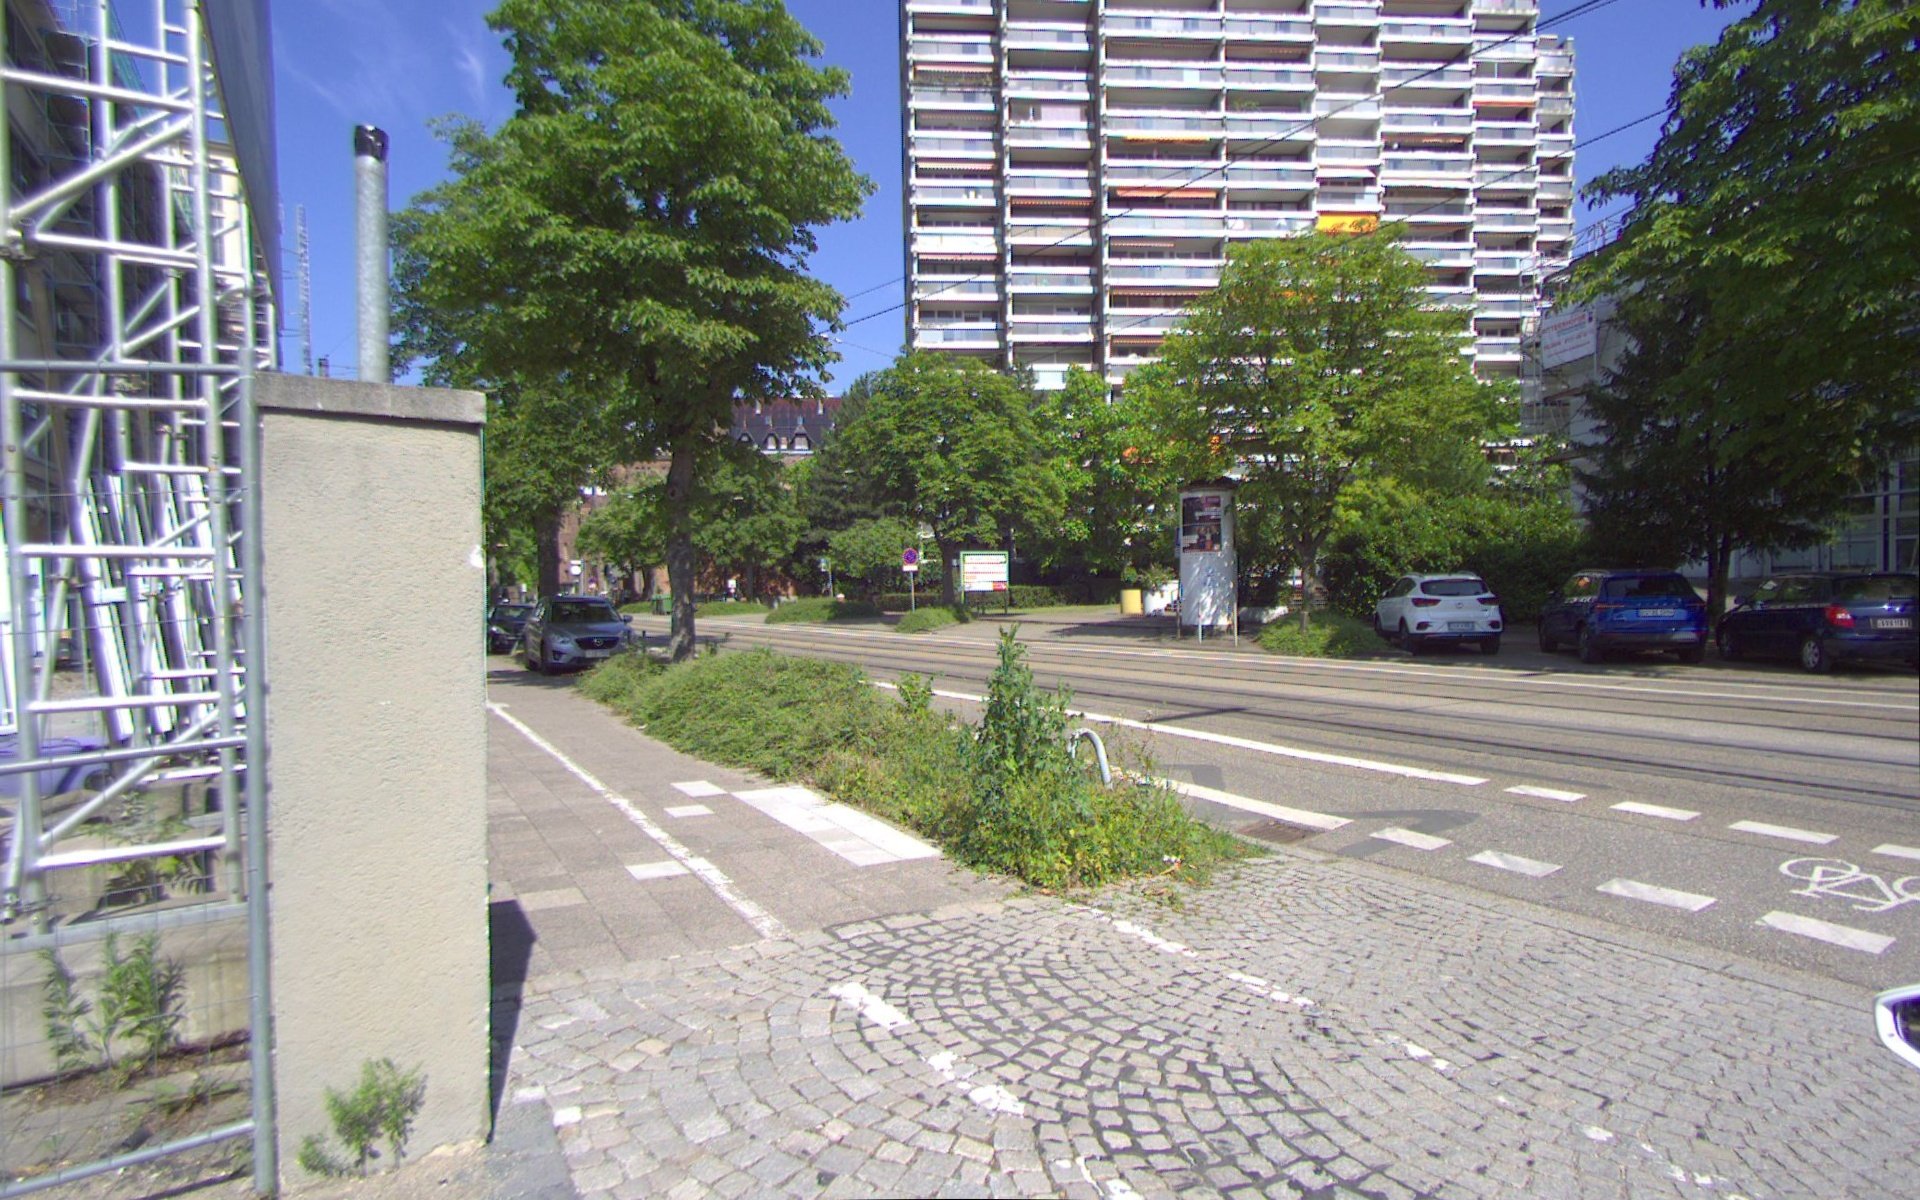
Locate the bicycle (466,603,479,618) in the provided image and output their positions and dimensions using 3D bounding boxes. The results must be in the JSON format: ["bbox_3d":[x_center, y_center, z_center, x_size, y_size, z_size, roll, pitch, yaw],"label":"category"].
[{"bbox_3d":[-32.793,0.708,67.608,0.591,1.020,1.473,-2,1,-33],"label":"bicycle"}]

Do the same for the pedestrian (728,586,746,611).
[{"bbox_3d":[-16.405,-0.134,73.840,1.046,1.822,1.256,0,0,-27],"label":"pedestrian"}]

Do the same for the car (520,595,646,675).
[{"bbox_3d":[-8.218,0.689,21.673,1.800,1.514,4.073,-1,1,-31],"label":"car"}]

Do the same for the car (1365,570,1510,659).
[{"bbox_3d":[9.981,0.256,21.300,1.783,1.628,3.947,-3,0,11],"label":"car"}]

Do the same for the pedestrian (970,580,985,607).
[{"bbox_3d":[0.791,-0.275,44.602,0.525,1.170,0.700,-1,1,-10],"label":"pedestrian"}]

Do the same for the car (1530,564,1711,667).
[{"bbox_3d":[11.969,0.200,18.489,1.745,1.644,3.945,-2,2,17],"label":"car"}]

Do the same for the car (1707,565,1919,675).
[{"bbox_3d":[13.547,0.259,15.866,1.544,1.551,3.460,-1,1,13],"label":"car"}]

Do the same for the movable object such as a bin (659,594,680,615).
[{"bbox_3d":[-20.545,0.335,70.986,1.249,1.473,1.072,-1,1,-26],"label":"movable object such as a bin"}]

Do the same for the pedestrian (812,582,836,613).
[{"bbox_3d":[-8.183,-0.131,60.420,1.047,1.822,1.255,0,0,-28],"label":"pedestrian"}]

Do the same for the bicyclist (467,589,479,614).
[{"bbox_3d":[-32.761,0.086,67.522,0.625,1.628,0.696,-2,1,-34],"label":"bicyclist"}]

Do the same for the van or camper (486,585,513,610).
[{"bbox_3d":[-52.212,-0.285,113.809,2.028,2.655,5.810,-2,1,-32],"label":"van or camper"}]

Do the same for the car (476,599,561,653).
[{"bbox_3d":[-13.232,0.725,29.995,1.800,1.473,3.966,-1,1,-31],"label":"car"}]

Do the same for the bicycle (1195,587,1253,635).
[{"bbox_3d":[7.510,0.295,28.591,0.542,1.326,1.604,-1,1,-36],"label":"bicycle"}]
